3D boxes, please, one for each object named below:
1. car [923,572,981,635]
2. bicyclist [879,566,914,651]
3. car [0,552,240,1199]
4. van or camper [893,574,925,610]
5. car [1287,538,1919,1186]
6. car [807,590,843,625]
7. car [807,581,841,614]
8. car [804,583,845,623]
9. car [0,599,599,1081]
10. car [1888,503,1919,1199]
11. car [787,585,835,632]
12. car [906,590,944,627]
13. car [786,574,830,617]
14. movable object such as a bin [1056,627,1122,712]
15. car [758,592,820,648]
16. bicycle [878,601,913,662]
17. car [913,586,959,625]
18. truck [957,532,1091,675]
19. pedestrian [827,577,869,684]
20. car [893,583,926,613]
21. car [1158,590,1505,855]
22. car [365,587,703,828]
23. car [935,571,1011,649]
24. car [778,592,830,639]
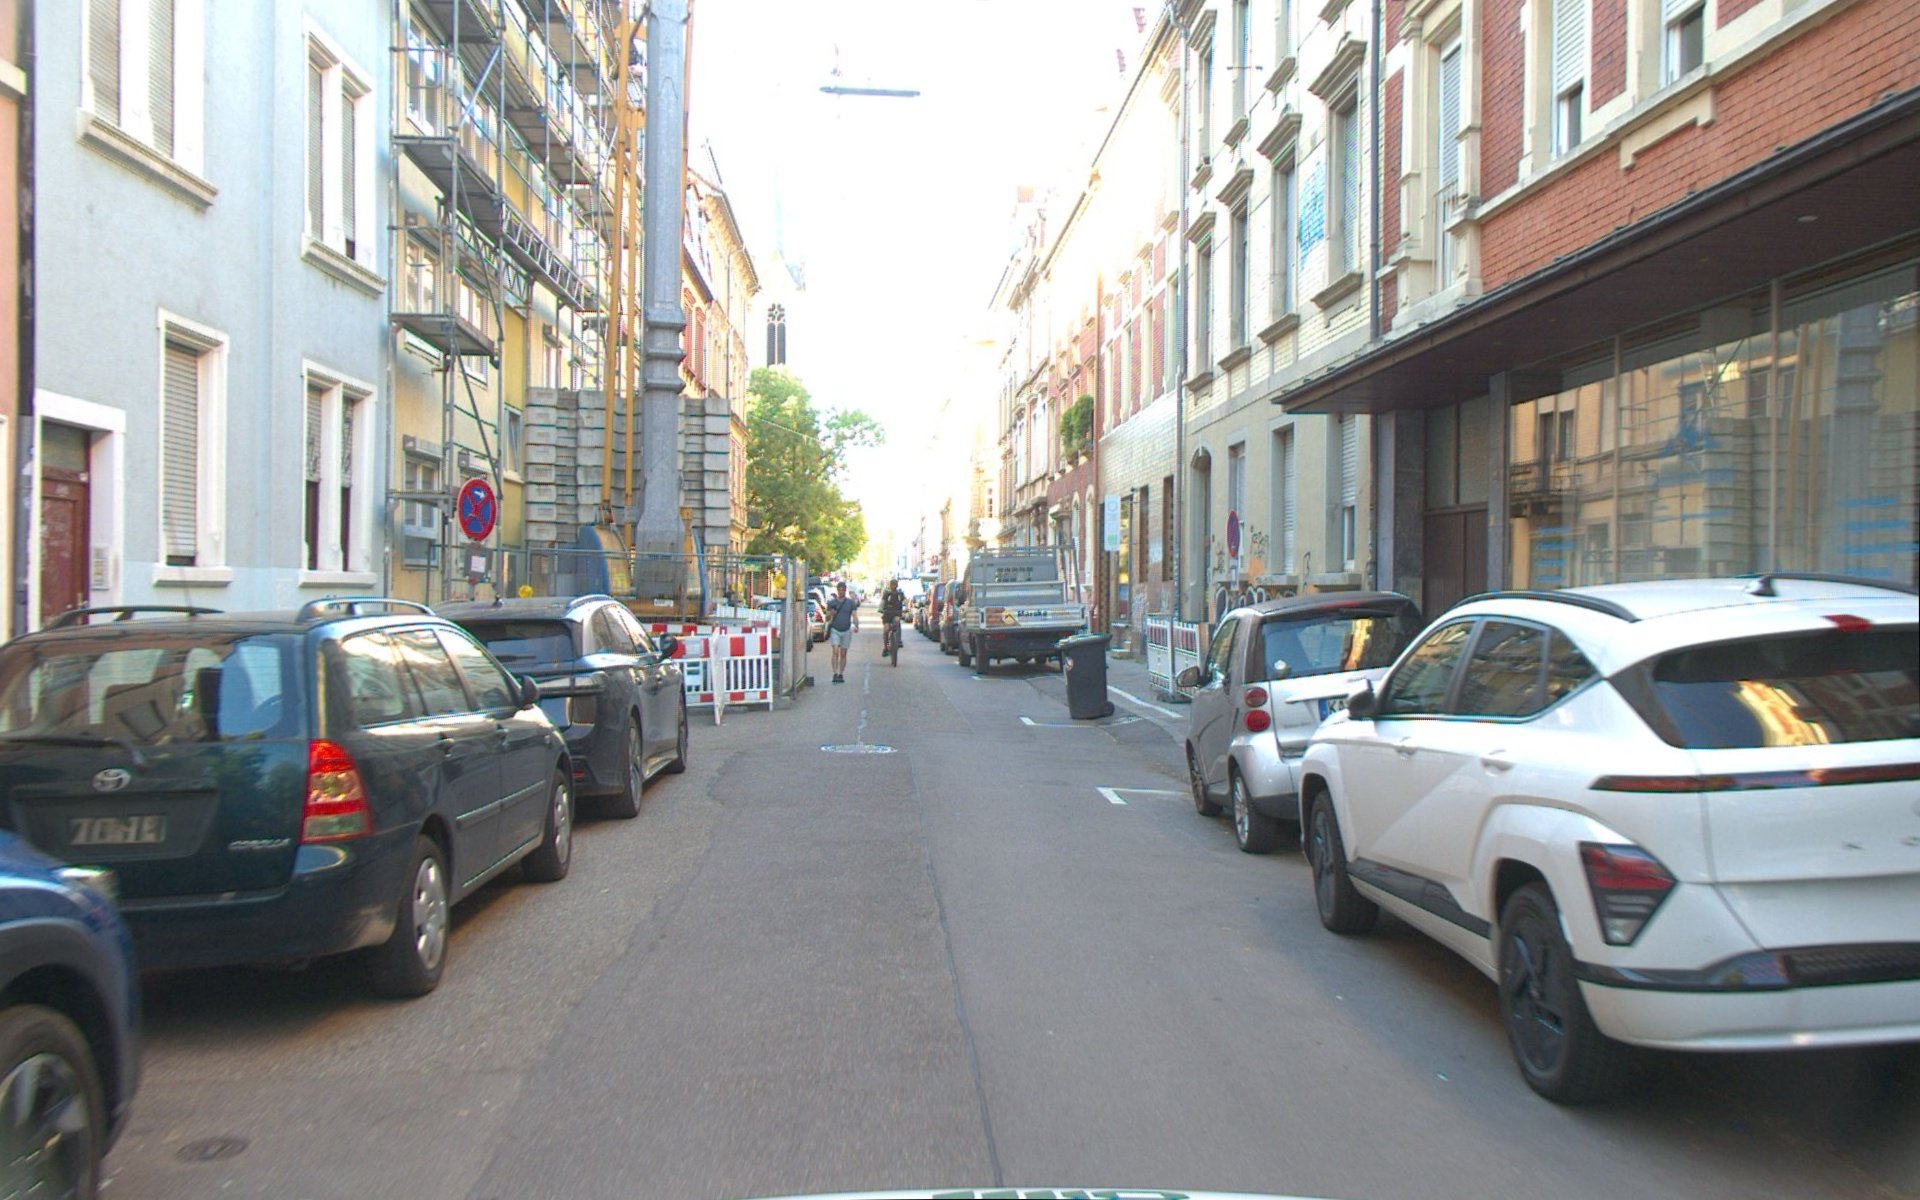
[{"bbox_3d":[-0.315,0.108,56.831,1.642,2.066,3.865,0,0,-5],"label":"car"},{"bbox_3d":[-1.373,0.176,35.526,0.715,1.792,0.835,1,1,-3],"label":"bicyclist"},{"bbox_3d":[-2.553,0.716,2.075,1.695,1.566,4.373,-1,0,-5],"label":"car"},{"bbox_3d":[-3.824,-0.604,123.244,1.956,2.552,4.196,-1,0,-7],"label":"van or camper"},{"bbox_3d":[2.655,0.682,6.567,1.711,1.705,4.339,0,0,-2],"label":"car"},{"bbox_3d":[-7.556,0.404,92.838,1.954,1.881,3.997,0,0,-4],"label":"car"},{"bbox_3d":[-8.051,-0.180,98.005,1.954,1.881,3.997,-1,0,-4],"label":"car"},{"bbox_3d":[-5.733,0.117,69.868,1.642,1.598,3.865,0,0,-5],"label":"car"},{"bbox_3d":[-2.844,0.773,7.560,1.641,1.538,4.412,0,0,-3],"label":"car"},{"bbox_3d":[2.625,0.667,1.227,1.607,1.685,3.867,0,0,-2],"label":"car"},{"bbox_3d":[-5.347,0.296,59.411,1.642,1.598,3.865,0,0,-5],"label":"car"},{"bbox_3d":[-2.026,0.445,94.695,1.954,2.049,3.997,0,0,-4],"label":"car"},{"bbox_3d":[-5.923,-0.180,64.659,1.642,1.598,3.865,0,0,-5],"label":"car"},{"bbox_3d":[1.672,0.895,21.577,0.779,1.074,0.659,0,0,-3],"label":"movable object such as a bin"},{"bbox_3d":[-4.700,0.536,45.719,1.642,1.470,3.865,0,0,-5],"label":"car"},{"bbox_3d":[-1.382,0.660,35.511,0.710,1.207,2.041,1,1,-3],"label":"bicycle"},{"bbox_3d":[-1.044,0.215,70.288,1.642,1.598,3.865,0,0,-5],"label":"car"},{"bbox_3d":[1.215,0.049,33.897,2.147,2.652,5.230,-1,0,-4],"label":"truck"},{"bbox_3d":[-1.893,0.512,28.045,0.644,1.763,0.719,-2,0,-4],"label":"pedestrian"},{"bbox_3d":[-3.283,-0.120,107.673,1.954,1.881,3.997,-1,0,-4],"label":"car"},{"bbox_3d":[2.482,0.729,11.931,1.564,1.587,3.812,-1,0,-1],"label":"car"},{"bbox_3d":[-3.053,0.675,12.783,1.641,1.503,4.605,0,0,-3],"label":"car"},{"bbox_3d":[0.303,0.249,44.357,1.642,1.997,4.104,0,0,-5],"label":"car"},{"bbox_3d":[-5.130,0.480,54.520,1.642,1.470,3.865,0,0,-5],"label":"car"}]
